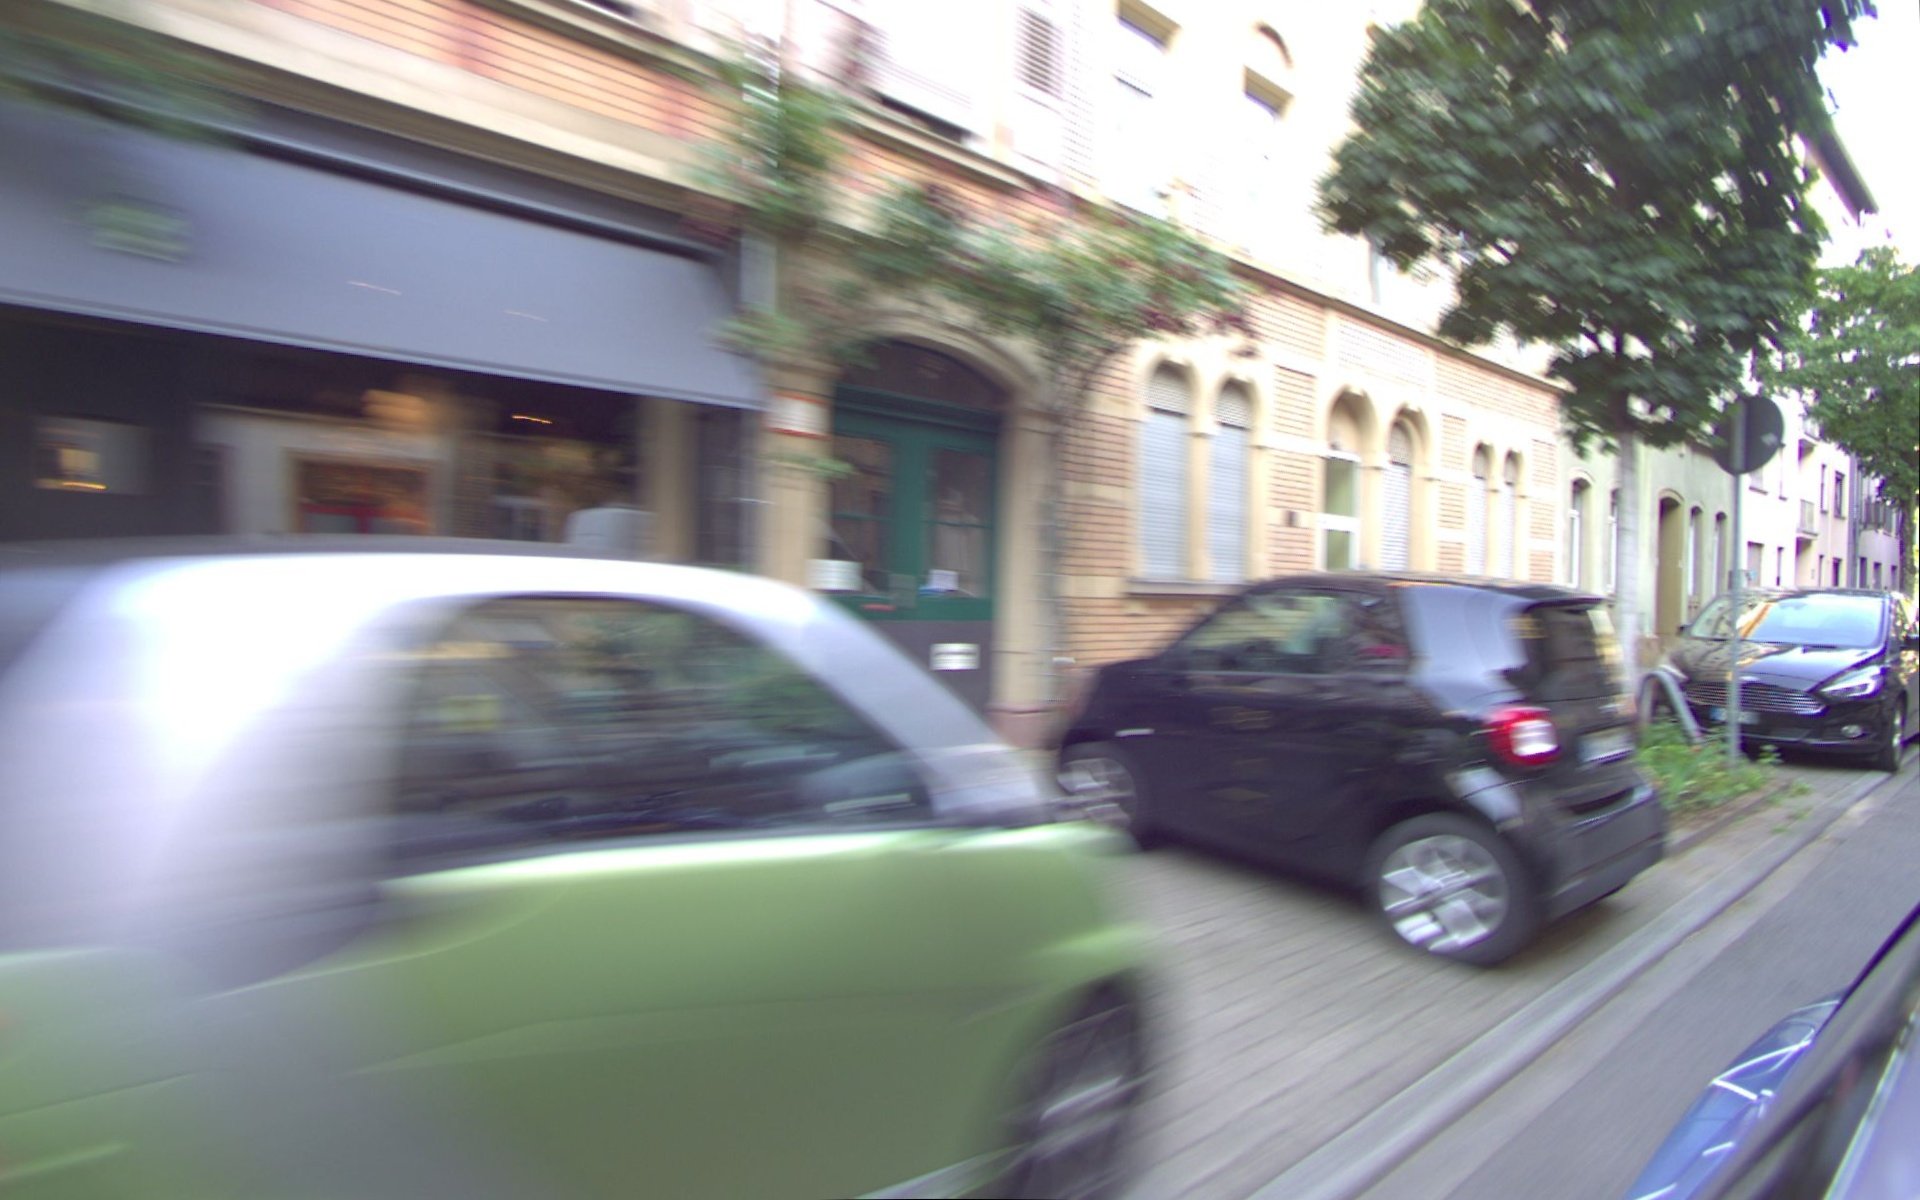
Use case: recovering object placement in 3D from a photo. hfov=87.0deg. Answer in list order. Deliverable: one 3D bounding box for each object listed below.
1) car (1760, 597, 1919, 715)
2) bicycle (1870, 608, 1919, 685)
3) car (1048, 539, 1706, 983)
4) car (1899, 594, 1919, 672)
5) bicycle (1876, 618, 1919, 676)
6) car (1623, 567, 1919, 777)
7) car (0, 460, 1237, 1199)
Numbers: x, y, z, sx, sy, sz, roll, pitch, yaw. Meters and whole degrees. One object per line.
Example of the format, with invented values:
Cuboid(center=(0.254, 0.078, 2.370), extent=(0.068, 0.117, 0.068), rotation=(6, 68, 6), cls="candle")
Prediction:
Cuboid(center=(13.473, 0.716, 14.685), extent=(4.781, 1.421, 2.050), rotation=(0, 2, -41), cls="car")
Cuboid(center=(16.535, 0.797, 16.954), extent=(1.739, 1.239, 0.636), rotation=(2, 2, 23), cls="bicycle")
Cuboid(center=(1.979, 0.538, 5.258), extent=(1.499, 1.592, 2.721), rotation=(1, 3, -40), cls="car")
Cuboid(center=(21.216, 0.704, 21.183), extent=(4.052, 1.558, 1.834), rotation=(0, 2, -41), cls="car")
Cuboid(center=(18.324, 0.913, 18.939), extent=(0.628, 1.033, 1.762), rotation=(1, 3, -5), cls="bicycle")
Cuboid(center=(8.467, 0.547, 10.139), extent=(4.376, 1.651, 1.942), rotation=(0, 1, -41), cls="car")
Cuboid(center=(-0.821, 0.610, 2.219), extent=(2.869, 1.571, 1.466), rotation=(0, 2, -44), cls="car")
